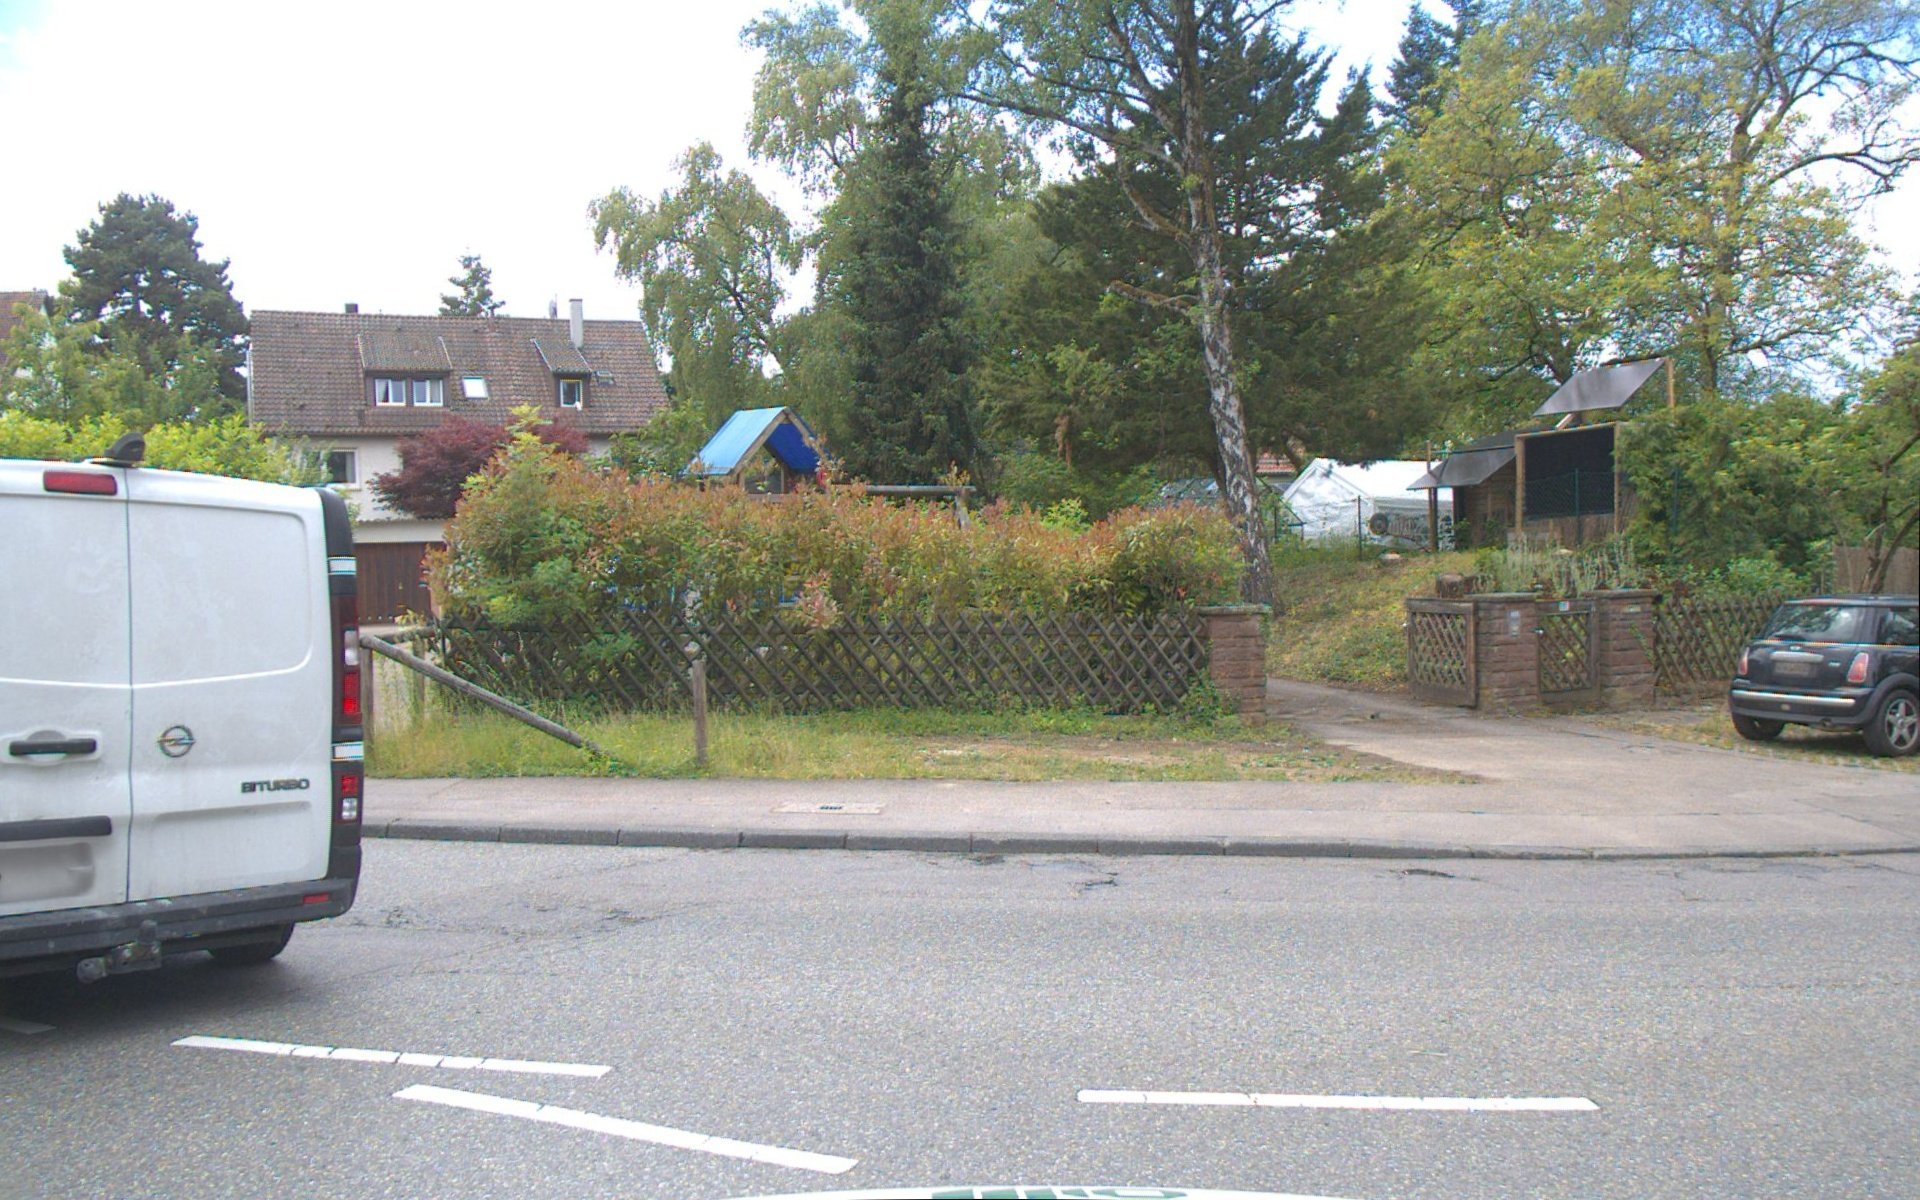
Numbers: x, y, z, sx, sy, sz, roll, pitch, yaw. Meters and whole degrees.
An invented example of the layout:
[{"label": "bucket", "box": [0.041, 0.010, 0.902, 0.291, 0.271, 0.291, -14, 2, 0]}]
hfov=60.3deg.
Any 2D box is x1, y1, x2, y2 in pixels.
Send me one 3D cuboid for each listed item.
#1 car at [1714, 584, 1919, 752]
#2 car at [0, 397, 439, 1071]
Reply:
[{"label": "car", "box": [9.212, 0.578, 15.879, 3.545, 1.415, 1.645, -1, 2, -23]}, {"label": "car", "box": [-4.423, 0.450, 7.143, 4.922, 2.074, 2.000, -1, -1, 43]}]
